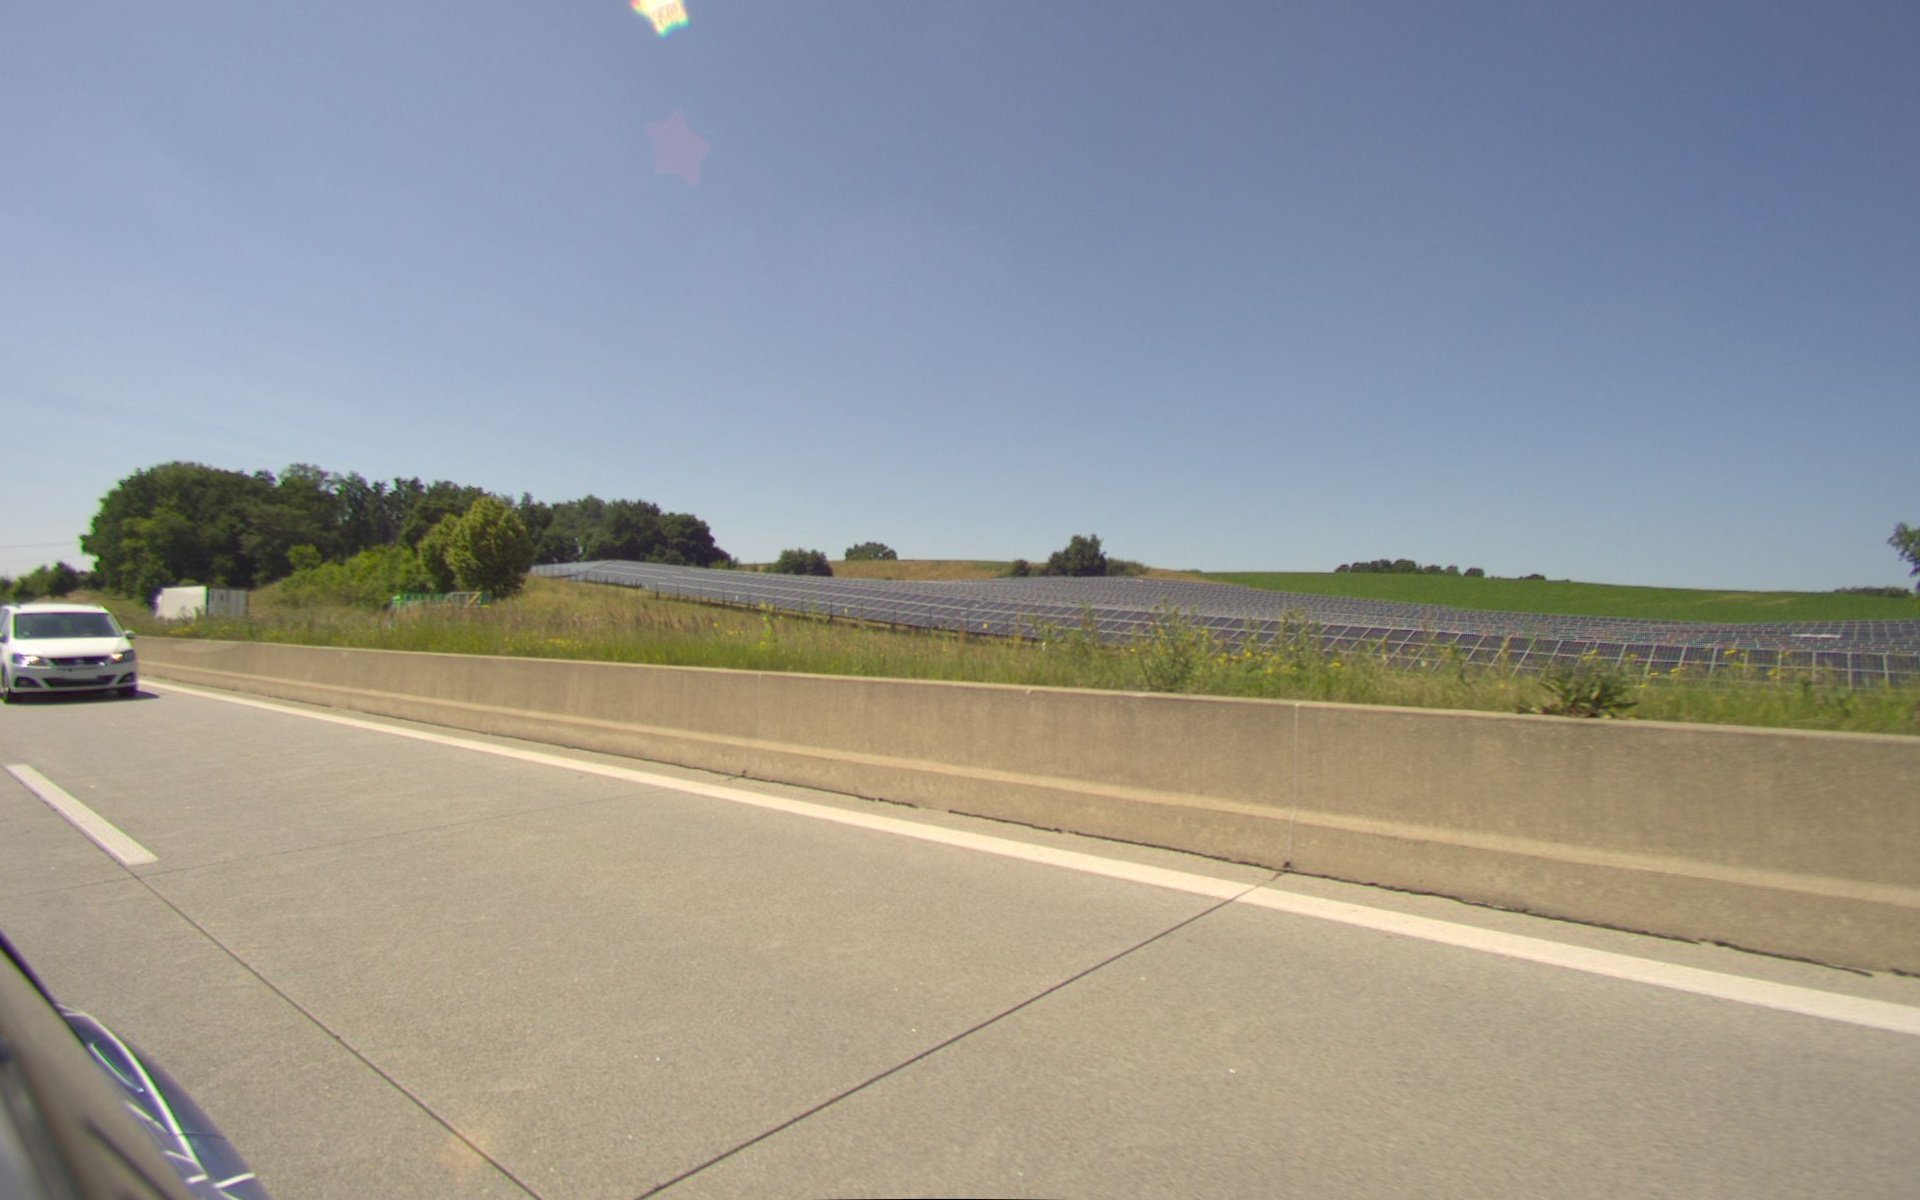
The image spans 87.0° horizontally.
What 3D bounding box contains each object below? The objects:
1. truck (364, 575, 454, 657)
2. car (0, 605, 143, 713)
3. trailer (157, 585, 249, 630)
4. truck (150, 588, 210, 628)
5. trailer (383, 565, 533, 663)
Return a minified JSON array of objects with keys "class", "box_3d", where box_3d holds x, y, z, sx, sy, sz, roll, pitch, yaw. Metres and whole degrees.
[{"class":"truck","box_3d":[-28.191,0.787,51.723,4.351,3.981,2.716,-1,0,41]},{"class":"car","box_3d":[-17.135,0.975,18.977,6.033,1.721,1.826,-1,0,41]},{"class":"trailer","box_3d":[-58.241,0.591,77.581,14.500,3.207,2.802,-1,0,42]},{"class":"truck","box_3d":[-63.272,0.642,82.036,5.824,3.181,2.803,-1,0,41]},{"class":"trailer","box_3d":[-23.974,0.694,47.978,10.252,4.223,2.704,-1,-1,42]}]
